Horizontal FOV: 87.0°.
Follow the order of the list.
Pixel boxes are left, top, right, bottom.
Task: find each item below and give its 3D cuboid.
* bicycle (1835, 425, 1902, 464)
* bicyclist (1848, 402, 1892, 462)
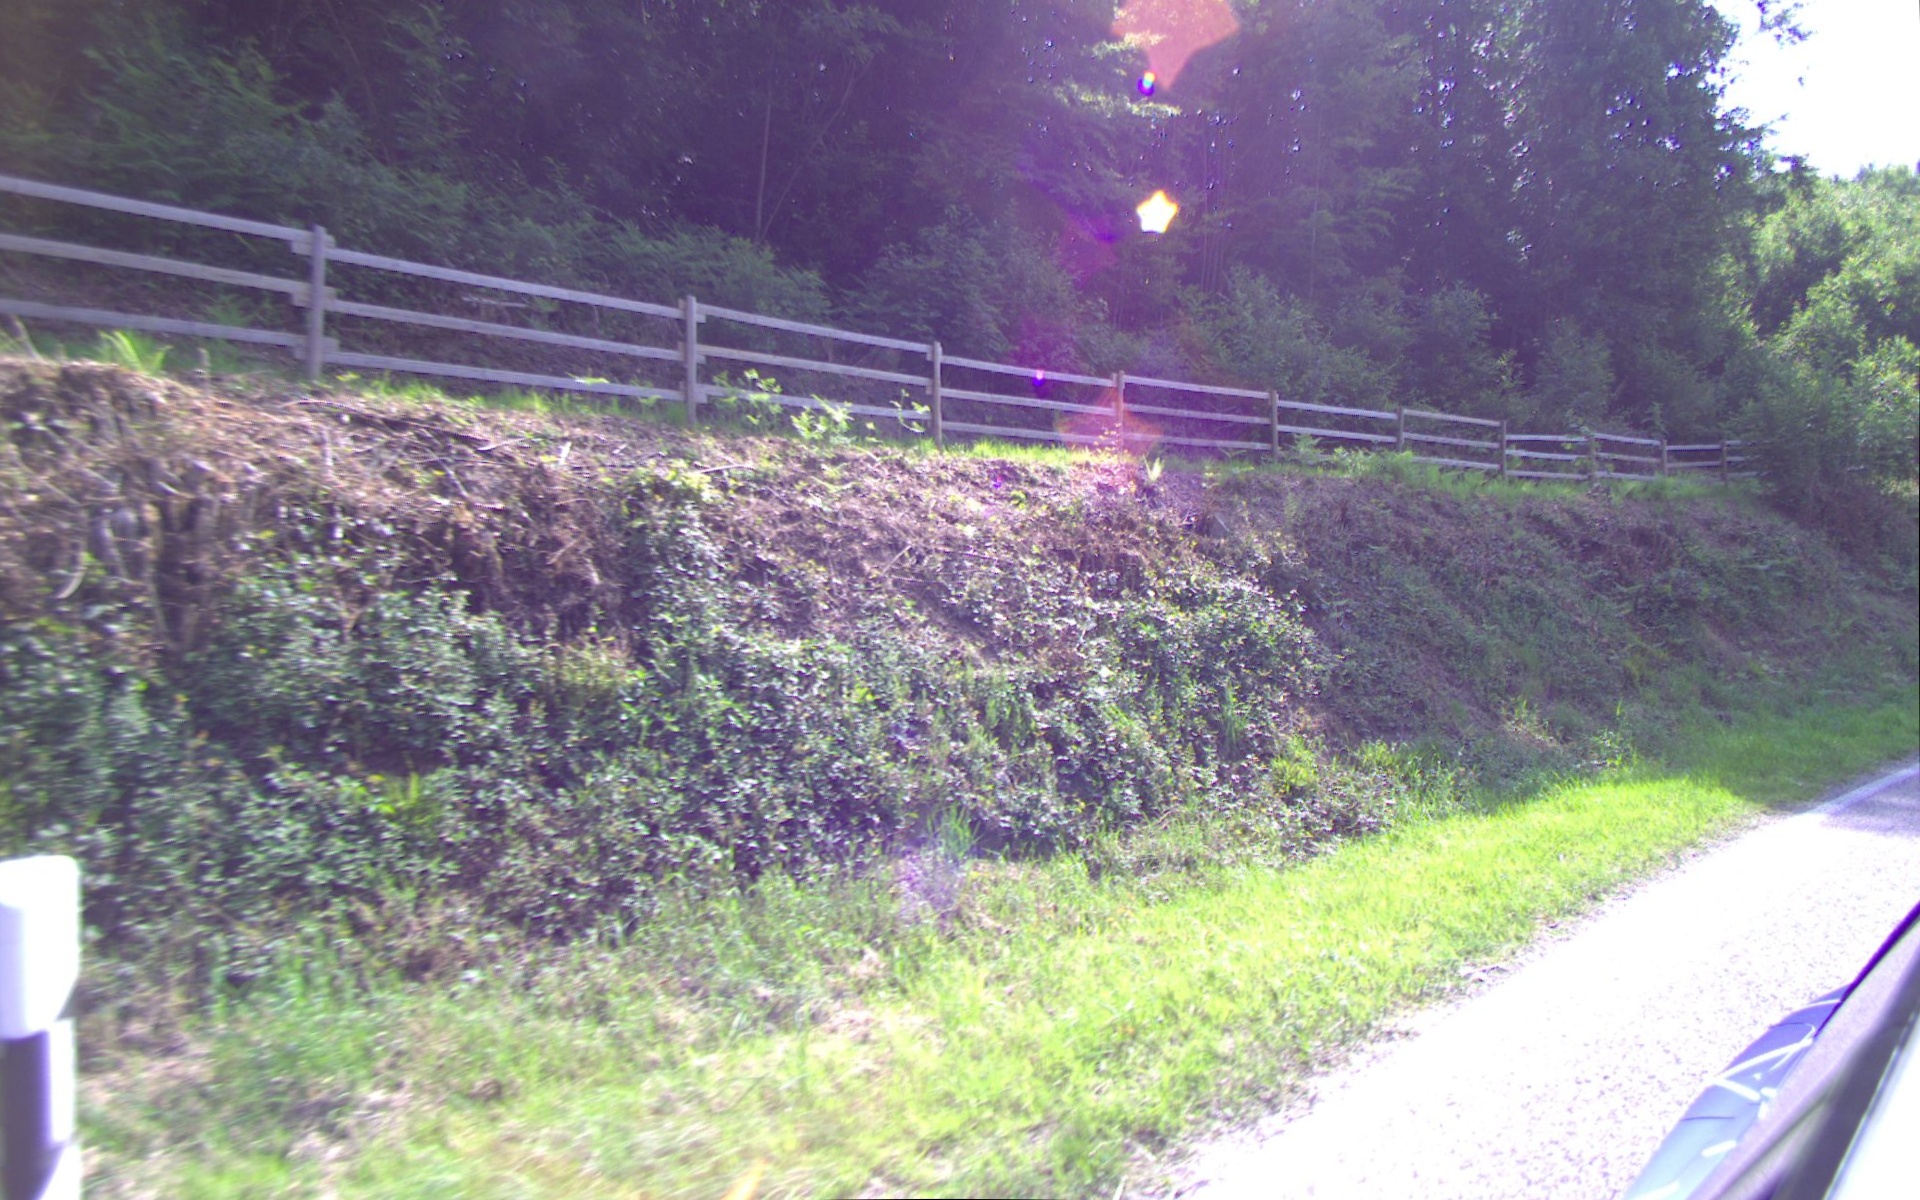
[{"bbox_3d":[25.616,-4.384,28.523,1.563,0.927,0.626,0,-3,-16],"label":"bicycle"},{"bbox_3d":[25.684,-4.741,28.568,0.600,1.544,0.626,0,-3,-16],"label":"bicyclist"}]
